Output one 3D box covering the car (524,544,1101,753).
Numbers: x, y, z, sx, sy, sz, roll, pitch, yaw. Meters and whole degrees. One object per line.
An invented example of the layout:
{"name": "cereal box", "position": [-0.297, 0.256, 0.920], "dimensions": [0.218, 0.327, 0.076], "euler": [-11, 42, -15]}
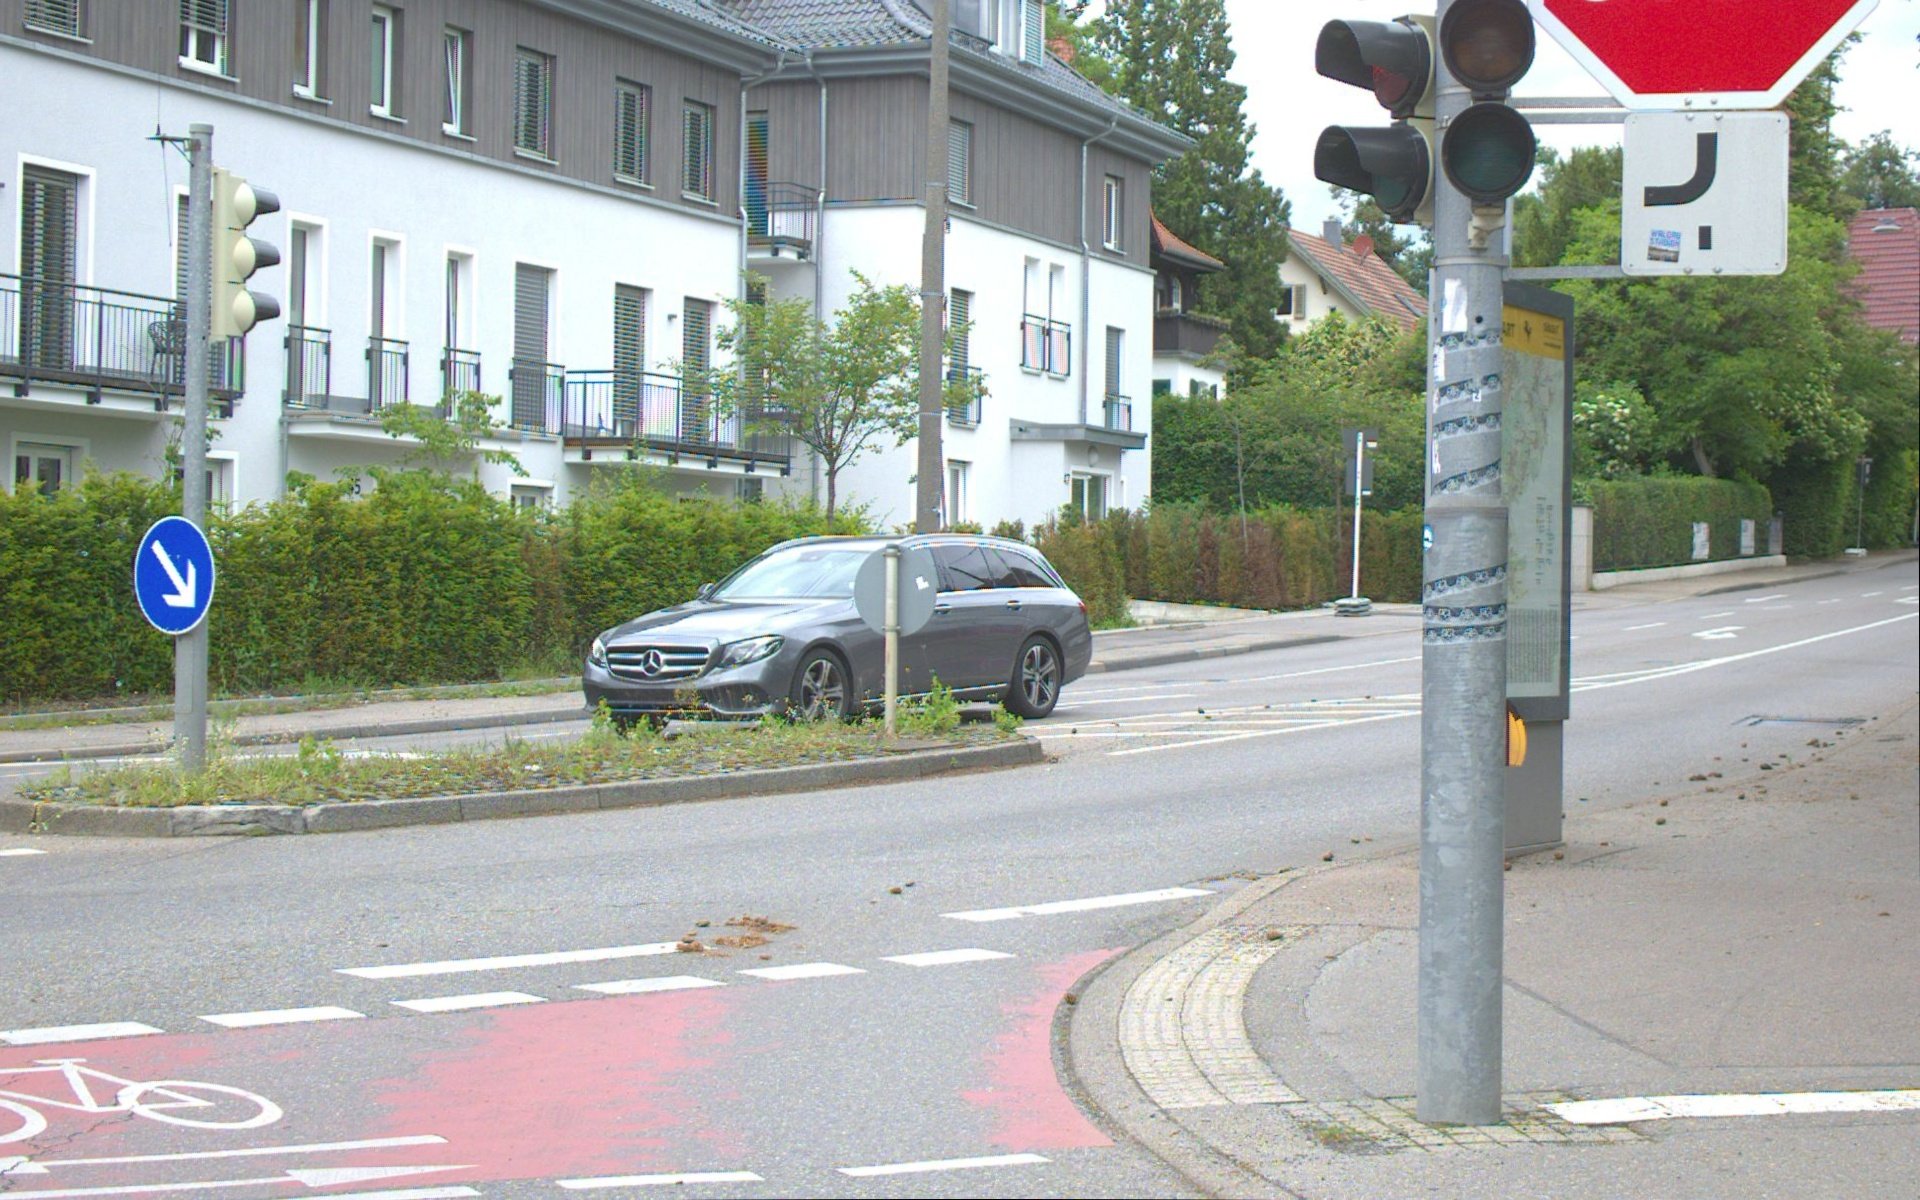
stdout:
{"name": "car", "position": [-1.007, 0.294, 26.173], "dimensions": [1.942, 1.399, 4.733], "euler": [1, 2, 34]}
